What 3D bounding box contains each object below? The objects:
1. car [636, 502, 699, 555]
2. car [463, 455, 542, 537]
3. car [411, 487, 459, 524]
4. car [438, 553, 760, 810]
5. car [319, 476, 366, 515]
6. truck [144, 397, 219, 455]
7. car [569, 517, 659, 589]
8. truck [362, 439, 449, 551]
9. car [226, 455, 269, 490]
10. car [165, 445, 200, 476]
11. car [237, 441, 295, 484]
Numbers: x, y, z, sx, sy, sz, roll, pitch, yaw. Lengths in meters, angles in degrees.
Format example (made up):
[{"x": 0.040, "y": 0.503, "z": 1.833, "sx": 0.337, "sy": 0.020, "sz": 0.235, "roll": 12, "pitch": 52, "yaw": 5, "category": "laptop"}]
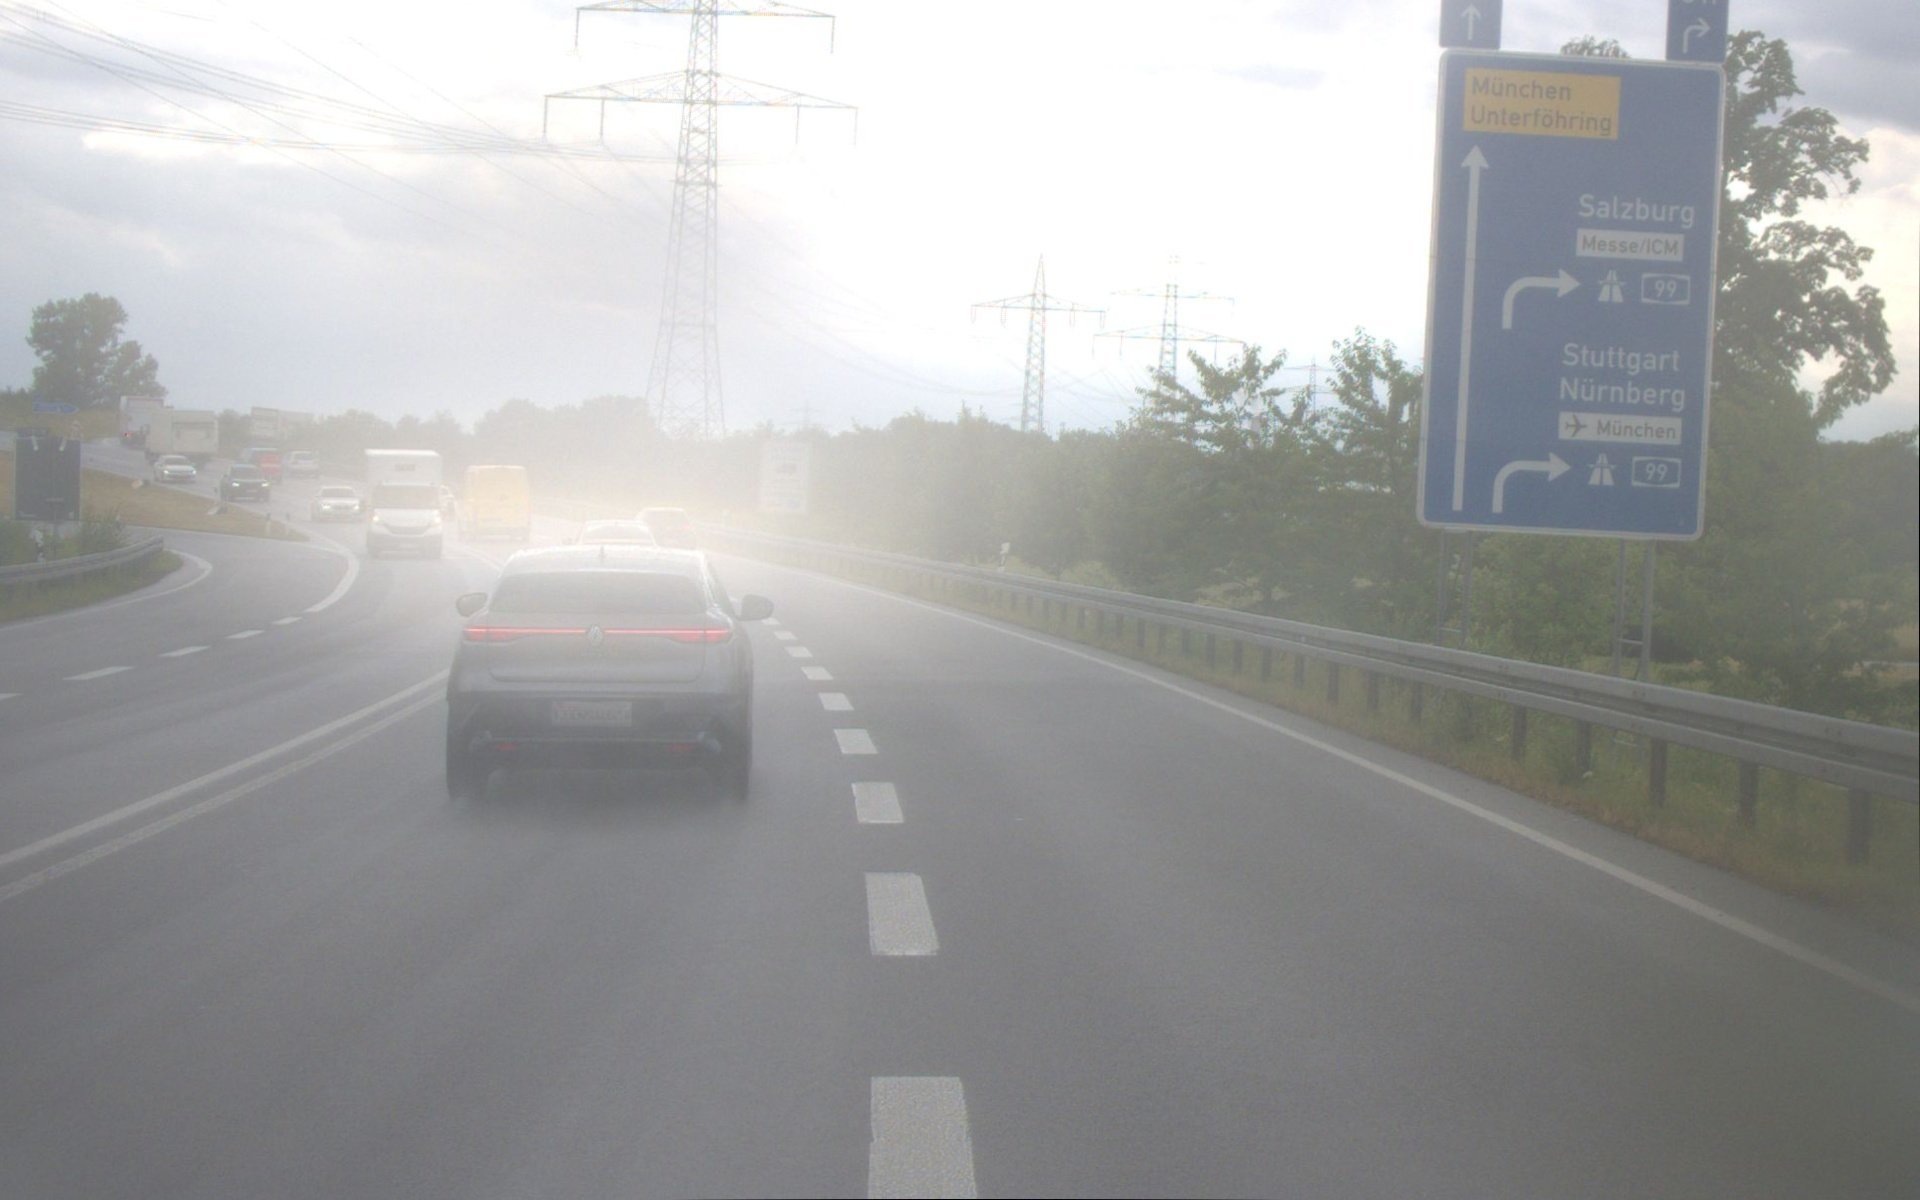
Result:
[{"x": -8.656, "y": -2.093, "z": 101.723, "sx": 1.791, "sy": 1.536, "sz": 4.001, "roll": 0, "pitch": 1, "yaw": -5, "category": "car"}, {"x": -15.685, "y": -3.529, "z": 117.645, "sx": 2.572, "sy": 2.716, "sz": 7.198, "roll": 0, "pitch": 1, "yaw": -8, "category": "car"}, {"x": -21.558, "y": -3.871, "z": 141.247, "sx": 1.791, "sy": 1.436, "sz": 4.001, "roll": -2, "pitch": 2, "yaw": -7, "category": "car"}, {"x": -2.176, "y": 0.440, "z": 21.385, "sx": 1.791, "sy": 1.436, "sz": 4.001, "roll": 1, "pitch": 1, "yaw": -4, "category": "car"}, {"x": -24.527, "y": -4.128, "z": 136.681, "sx": 1.791, "sy": 1.436, "sz": 4.001, "roll": 0, "pitch": 0, "yaw": -9, "category": "car"}, {"x": -47.450, "y": -10.554, "z": 209.321, "sx": 3.045, "sy": 3.373, "sz": 7.646, "roll": 1, "pitch": 2, "yaw": -23, "category": "truck"}, {"x": -7.163, "y": -0.971, "z": 71.236, "sx": 1.791, "sy": 1.436, "sz": 4.001, "roll": 1, "pitch": 1, "yaw": -6, "category": "car"}, {"x": -16.041, "y": -3.010, "z": 99.730, "sx": 2.255, "sy": 3.145, "sz": 6.691, "roll": 0, "pitch": 1, "yaw": -7, "category": "truck"}, {"x": -33.445, "y": -5.957, "z": 161.333, "sx": 1.799, "sy": 1.569, "sz": 4.261, "roll": 0, "pitch": 1, "yaw": -14, "category": "car"}, {"x": -42.075, "y": -7.545, "z": 186.019, "sx": 1.799, "sy": 1.569, "sz": 4.261, "roll": 0, "pitch": 1, "yaw": -14, "category": "car"}, {"x": -38.092, "y": -7.515, "z": 188.486, "sx": 2.601, "sy": 2.242, "sz": 5.537, "roll": 1, "pitch": 2, "yaw": -16, "category": "car"}]
